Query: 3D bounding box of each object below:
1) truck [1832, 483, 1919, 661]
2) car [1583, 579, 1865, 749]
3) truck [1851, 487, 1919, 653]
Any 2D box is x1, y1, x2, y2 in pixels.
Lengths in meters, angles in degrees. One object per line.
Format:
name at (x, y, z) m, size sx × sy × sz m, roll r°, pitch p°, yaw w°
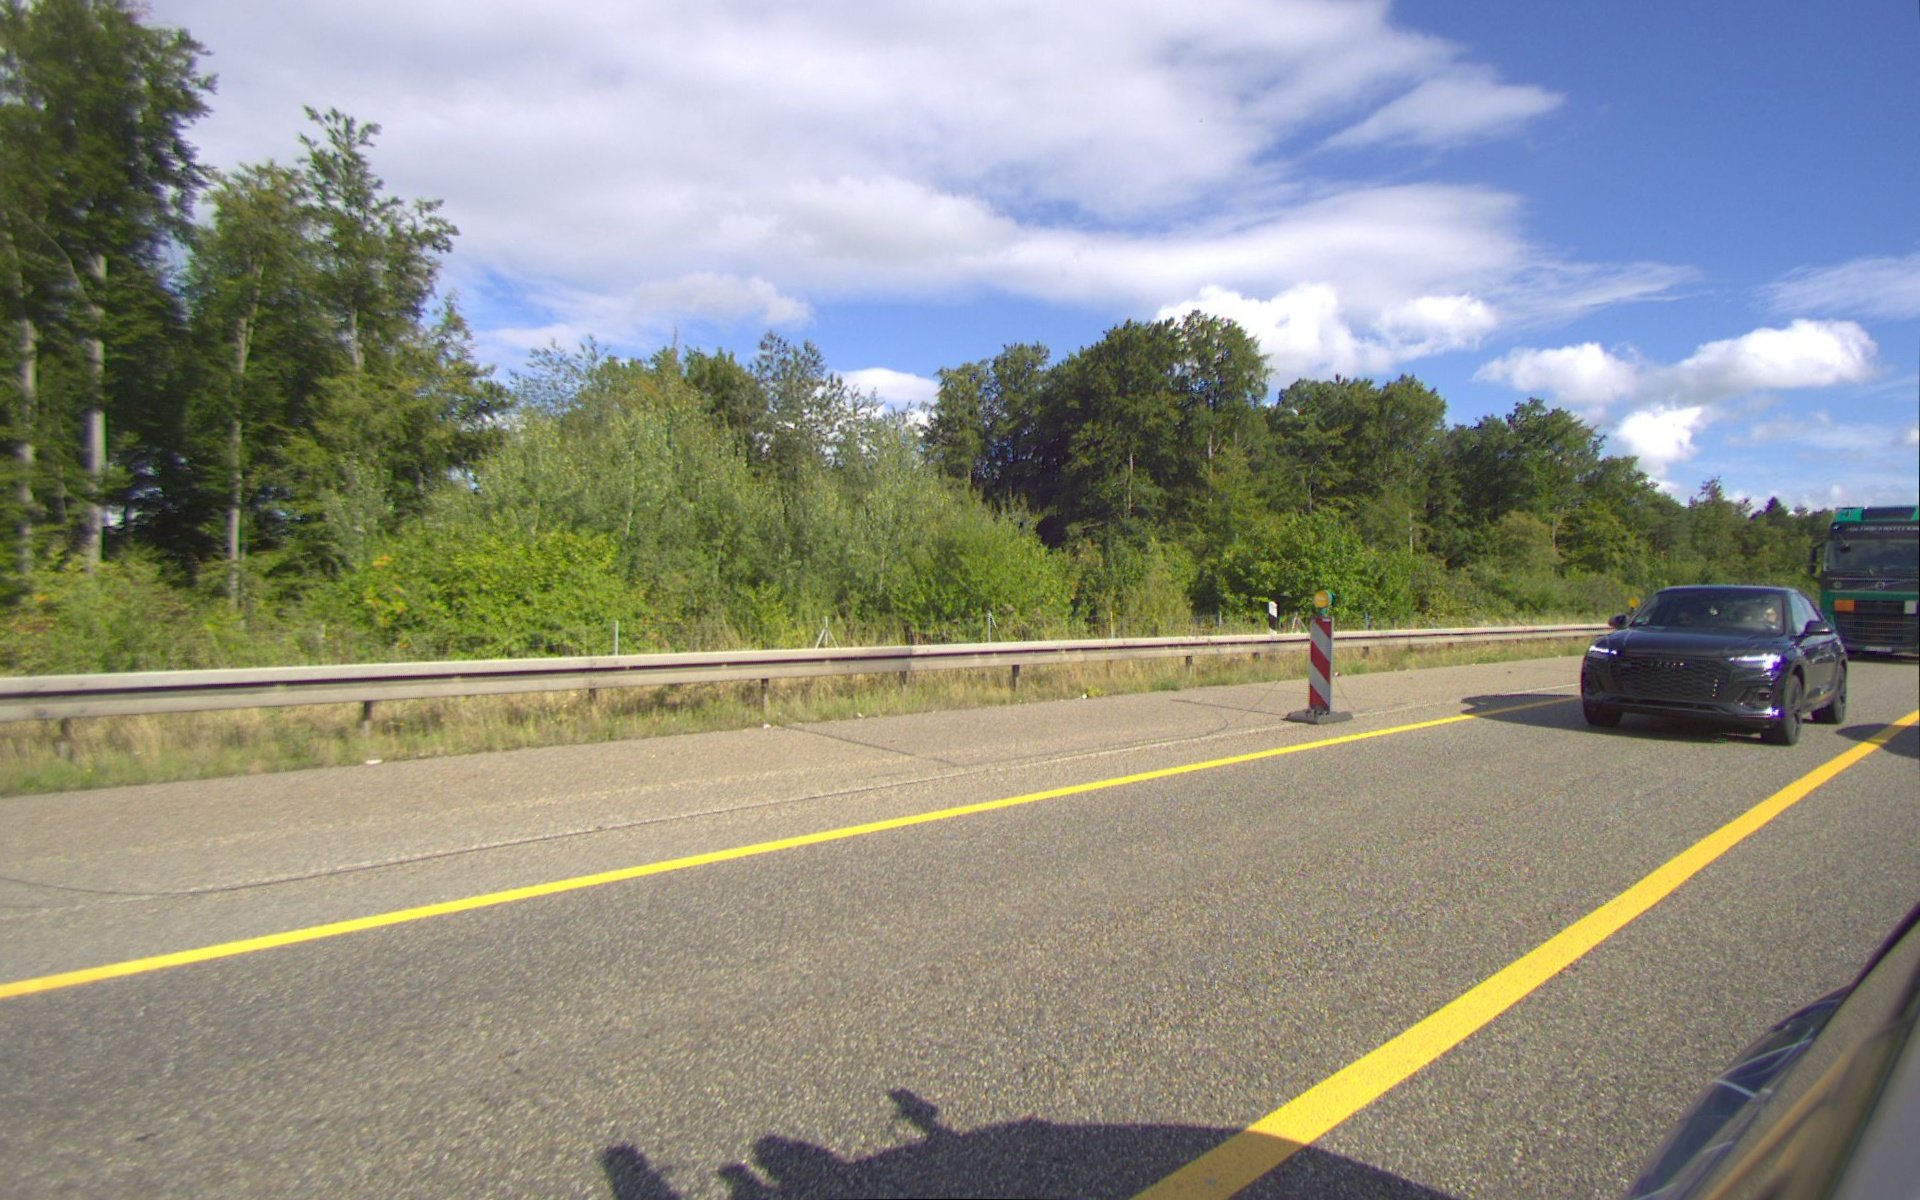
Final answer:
truck at (24.760, -0.691, 26.111) m, size 6.737 × 4.151 × 2.526 m, roll -1°, pitch 1°, yaw -41°
car at (8.927, 0.582, 11.693) m, size 4.219 × 1.622 × 1.781 m, roll -1°, pitch 1°, yaw -41°
truck at (29.499, -0.724, 30.337) m, size 13.962 × 4.196 × 2.468 m, roll 0°, pitch 0°, yaw -41°
